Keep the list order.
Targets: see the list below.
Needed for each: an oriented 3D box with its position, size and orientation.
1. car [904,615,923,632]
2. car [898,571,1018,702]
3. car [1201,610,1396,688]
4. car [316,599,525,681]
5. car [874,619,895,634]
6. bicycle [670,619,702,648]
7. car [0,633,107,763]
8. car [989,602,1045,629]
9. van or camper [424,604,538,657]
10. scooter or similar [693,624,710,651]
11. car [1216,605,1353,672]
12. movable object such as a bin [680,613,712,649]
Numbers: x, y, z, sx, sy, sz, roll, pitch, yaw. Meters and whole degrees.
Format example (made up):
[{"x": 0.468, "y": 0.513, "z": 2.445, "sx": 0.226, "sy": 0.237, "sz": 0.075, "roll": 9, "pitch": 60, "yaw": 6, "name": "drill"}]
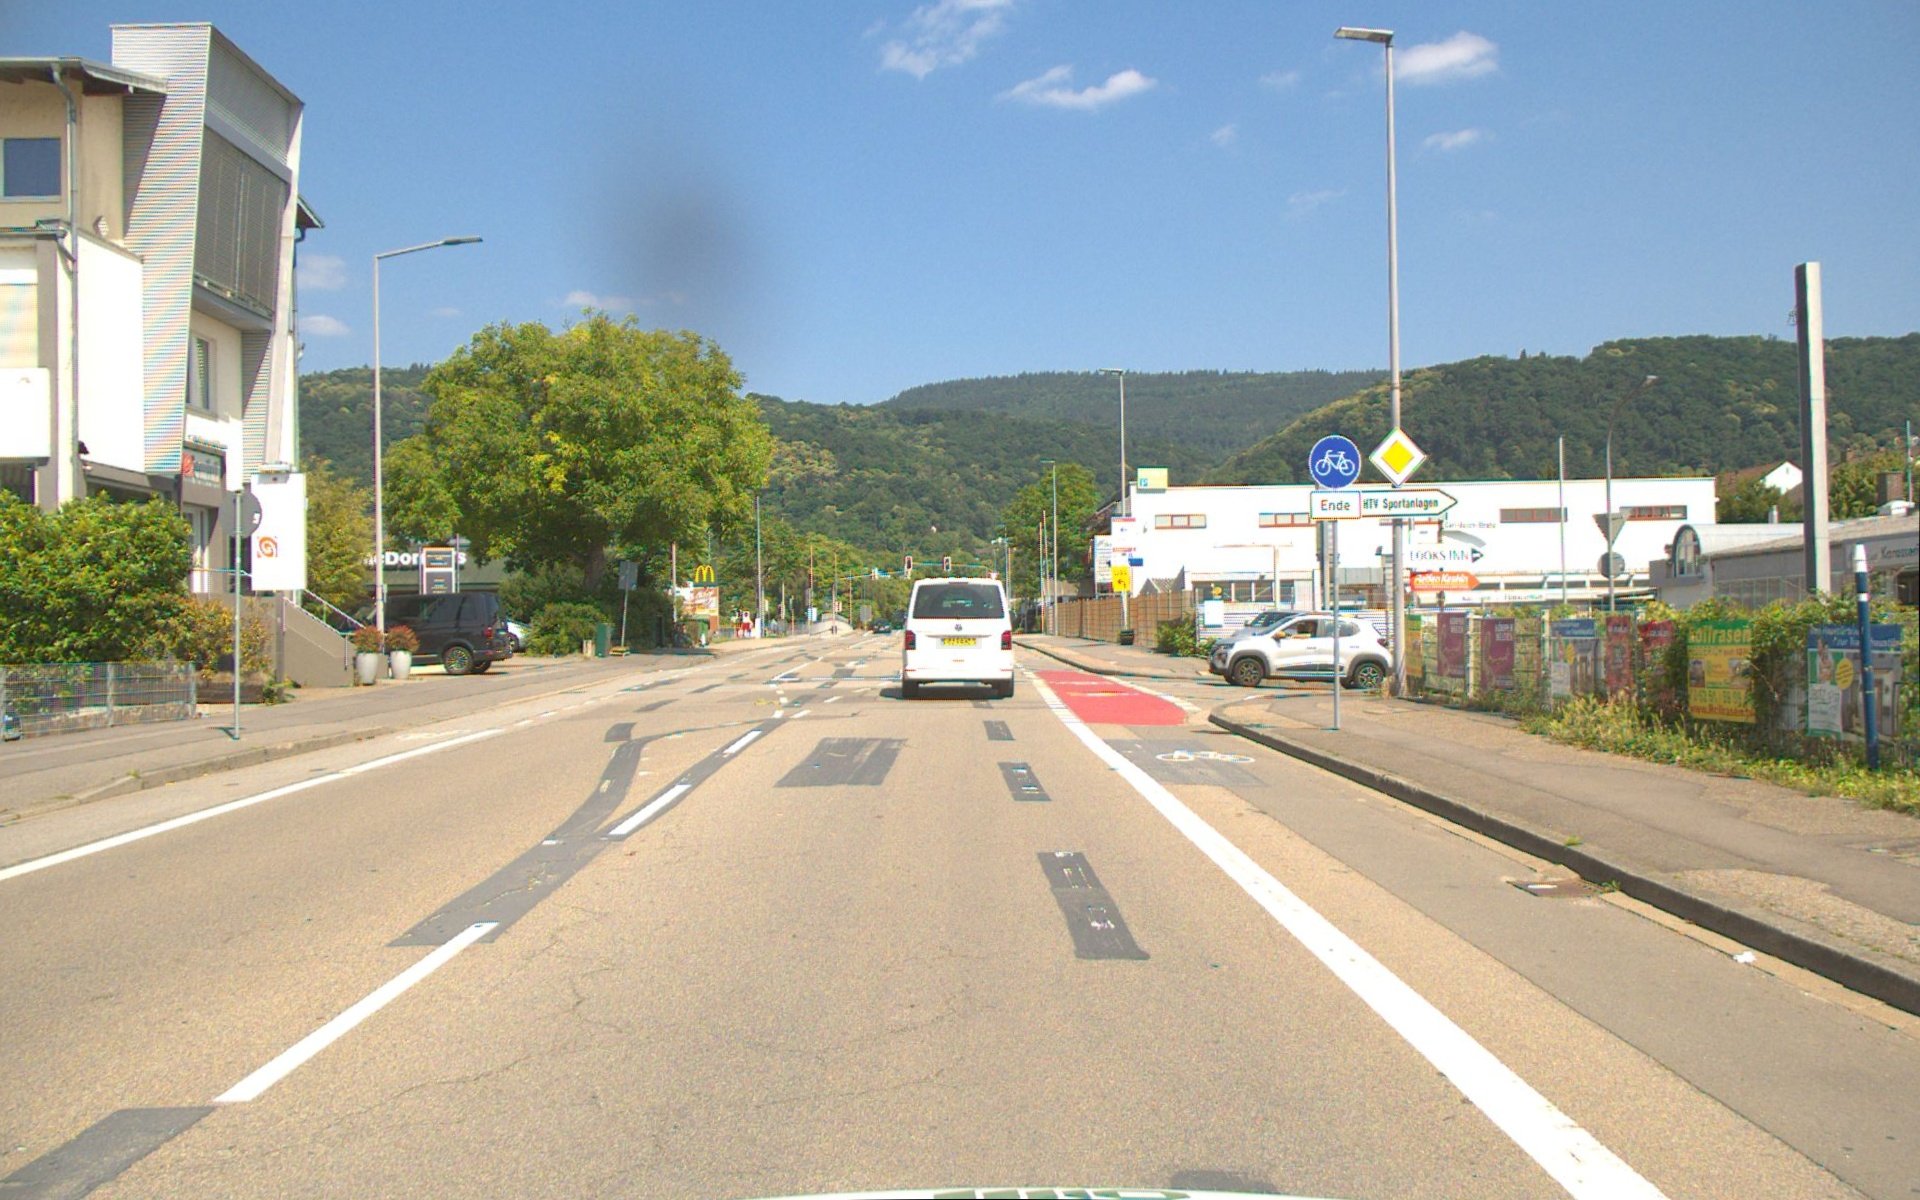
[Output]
[{"x": -4.722, "y": 2.395, "z": 168.544, "sx": 1.812, "sy": 1.616, "sz": 3.999, "roll": -2, "pitch": -1, "yaw": -1, "name": "car"}, {"x": -0.112, "y": 0.609, "z": 28.838, "sx": 1.896, "sy": 2.096, "sz": 4.542, "roll": 0, "pitch": -1, "yaw": -3, "name": "car"}, {"x": 6.724, "y": 0.963, "z": 33.141, "sx": 3.589, "sy": 1.510, "sz": 1.728, "roll": 0, "pitch": 0, "yaw": 1, "name": "car"}, {"x": -13.051, "y": 0.944, "z": 40.273, "sx": 4.478, "sy": 1.898, "sz": 2.090, "roll": 0, "pitch": -1, "yaw": -6, "name": "car"}, {"x": -7.544, "y": 2.633, "z": 164.682, "sx": 1.954, "sy": 1.394, "sz": 4.323, "roll": -2, "pitch": -1, "yaw": -4, "name": "car"}, {"x": -11.300, "y": 1.371, "z": 68.346, "sx": 1.006, "sy": 1.137, "sz": 2.763, "roll": 2, "pitch": -1, "yaw": -4, "name": "bicycle"}, {"x": -13.435, "y": 1.232, "z": 20.464, "sx": 4.644, "sy": 1.507, "sz": 2.047, "roll": -1, "pitch": 0, "yaw": -3, "name": "car"}, {"x": 4.112, "y": 1.108, "z": 119.554, "sx": 3.903, "sy": 1.806, "sz": 2.001, "roll": -2, "pitch": -1, "yaw": 5, "name": "car"}, {"x": -16.116, "y": 1.030, "z": 55.756, "sx": 3.322, "sy": 1.694, "sz": 1.633, "roll": 1, "pitch": 0, "yaw": 1, "name": "van or camper"}, {"x": -11.235, "y": 1.627, "z": 71.848, "sx": 0.634, "sy": 1.147, "sz": 1.620, "roll": 2, "pitch": -1, "yaw": -7, "name": "scooter or similar"}, {"x": 7.788, "y": 0.947, "z": 39.326, "sx": 1.915, "sy": 1.382, "sz": 4.490, "roll": 3, "pitch": -1, "yaw": 28, "name": "car"}, {"x": -12.408, "y": 1.454, "z": 77.791, "sx": 1.421, "sy": 1.618, "sz": 1.304, "roll": -2, "pitch": -1, "yaw": -10, "name": "movable object such as a bin"}]
